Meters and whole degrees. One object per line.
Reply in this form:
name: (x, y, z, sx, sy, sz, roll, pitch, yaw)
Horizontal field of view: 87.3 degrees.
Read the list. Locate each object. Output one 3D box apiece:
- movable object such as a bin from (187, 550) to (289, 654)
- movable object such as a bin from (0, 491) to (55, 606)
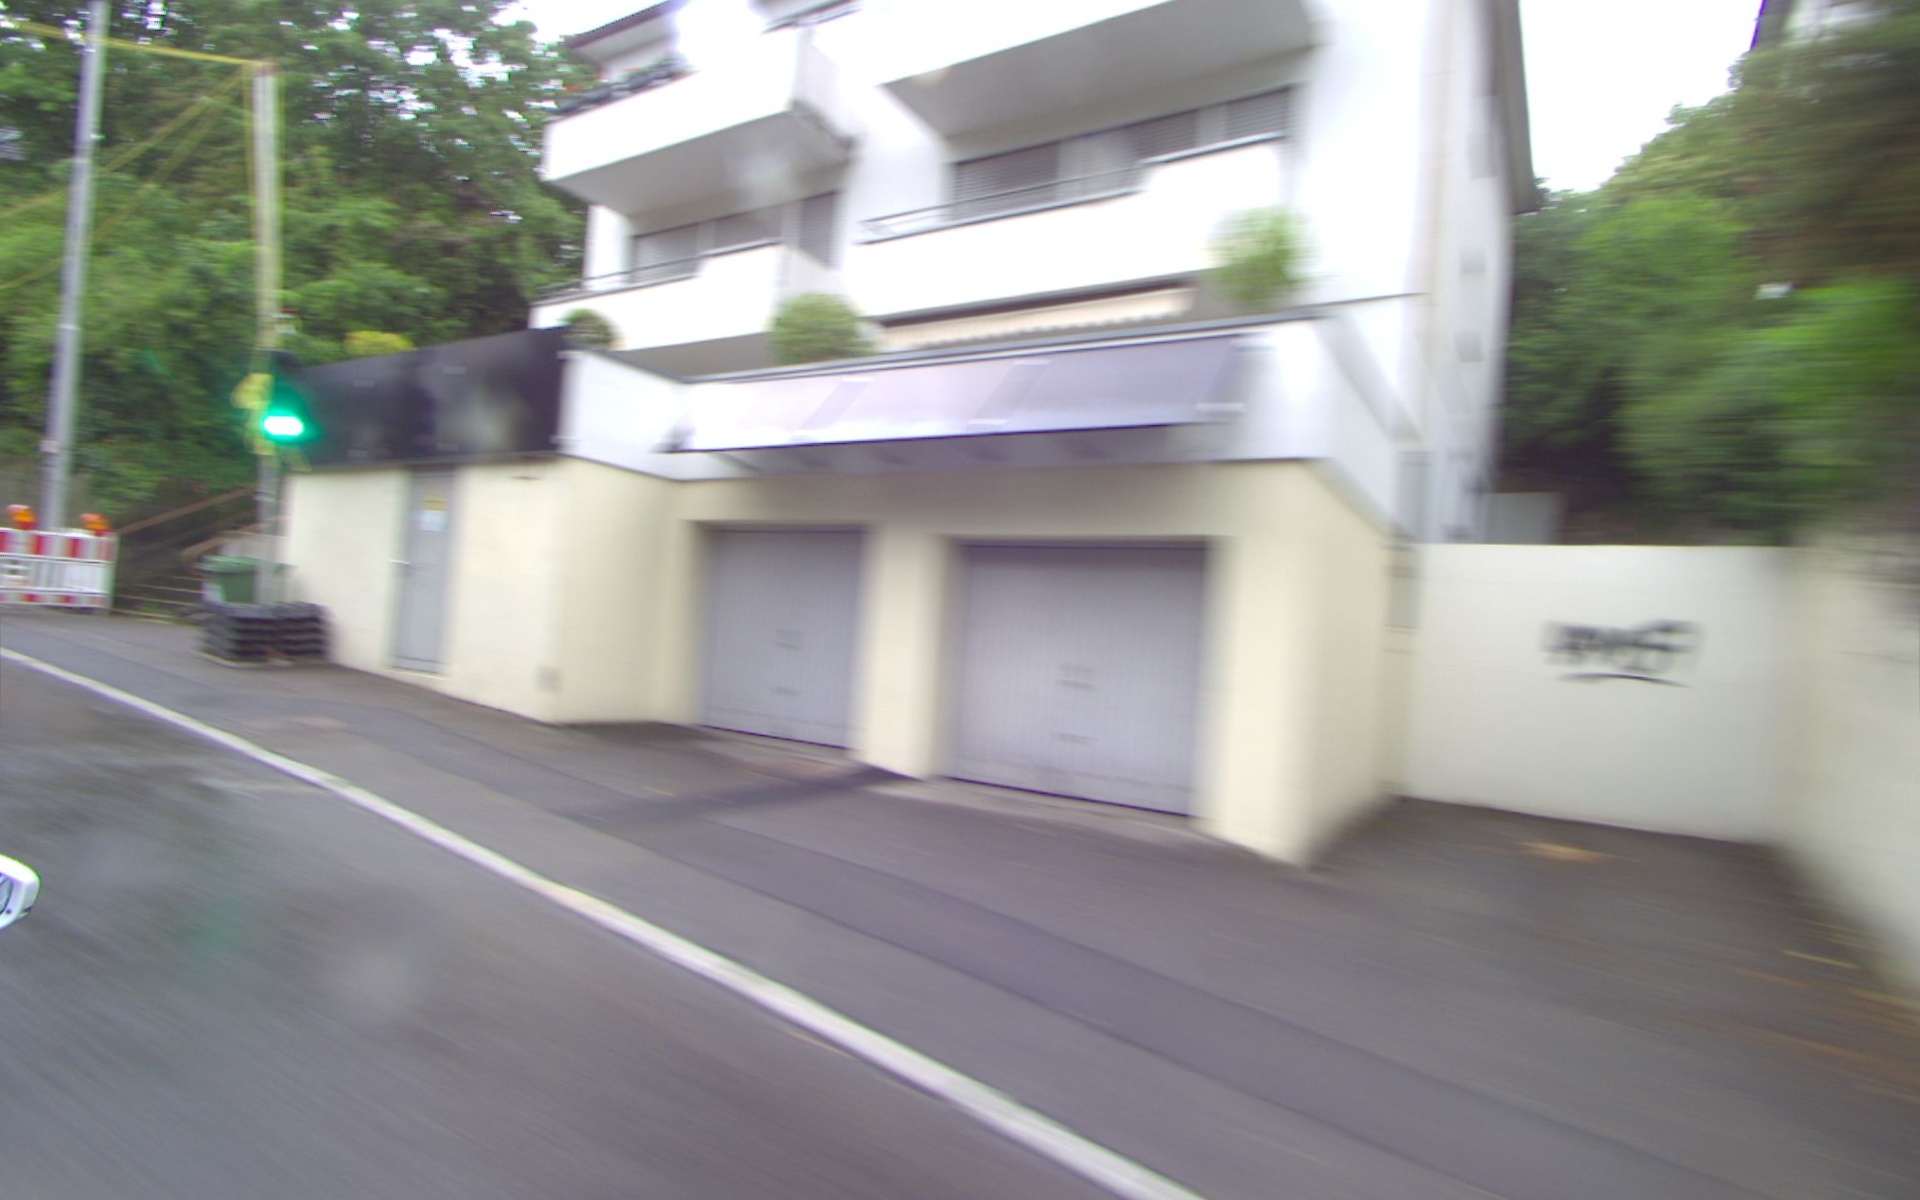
movable object such as a bin: (-7.982, 0.028, 11.124, 0.583, 1.045, 0.718, 7, 1, 39)
movable object such as a bin: (-15.127, -0.988, 14.122, 3.927, 1.537, 2.000, 8, 0, 22)
